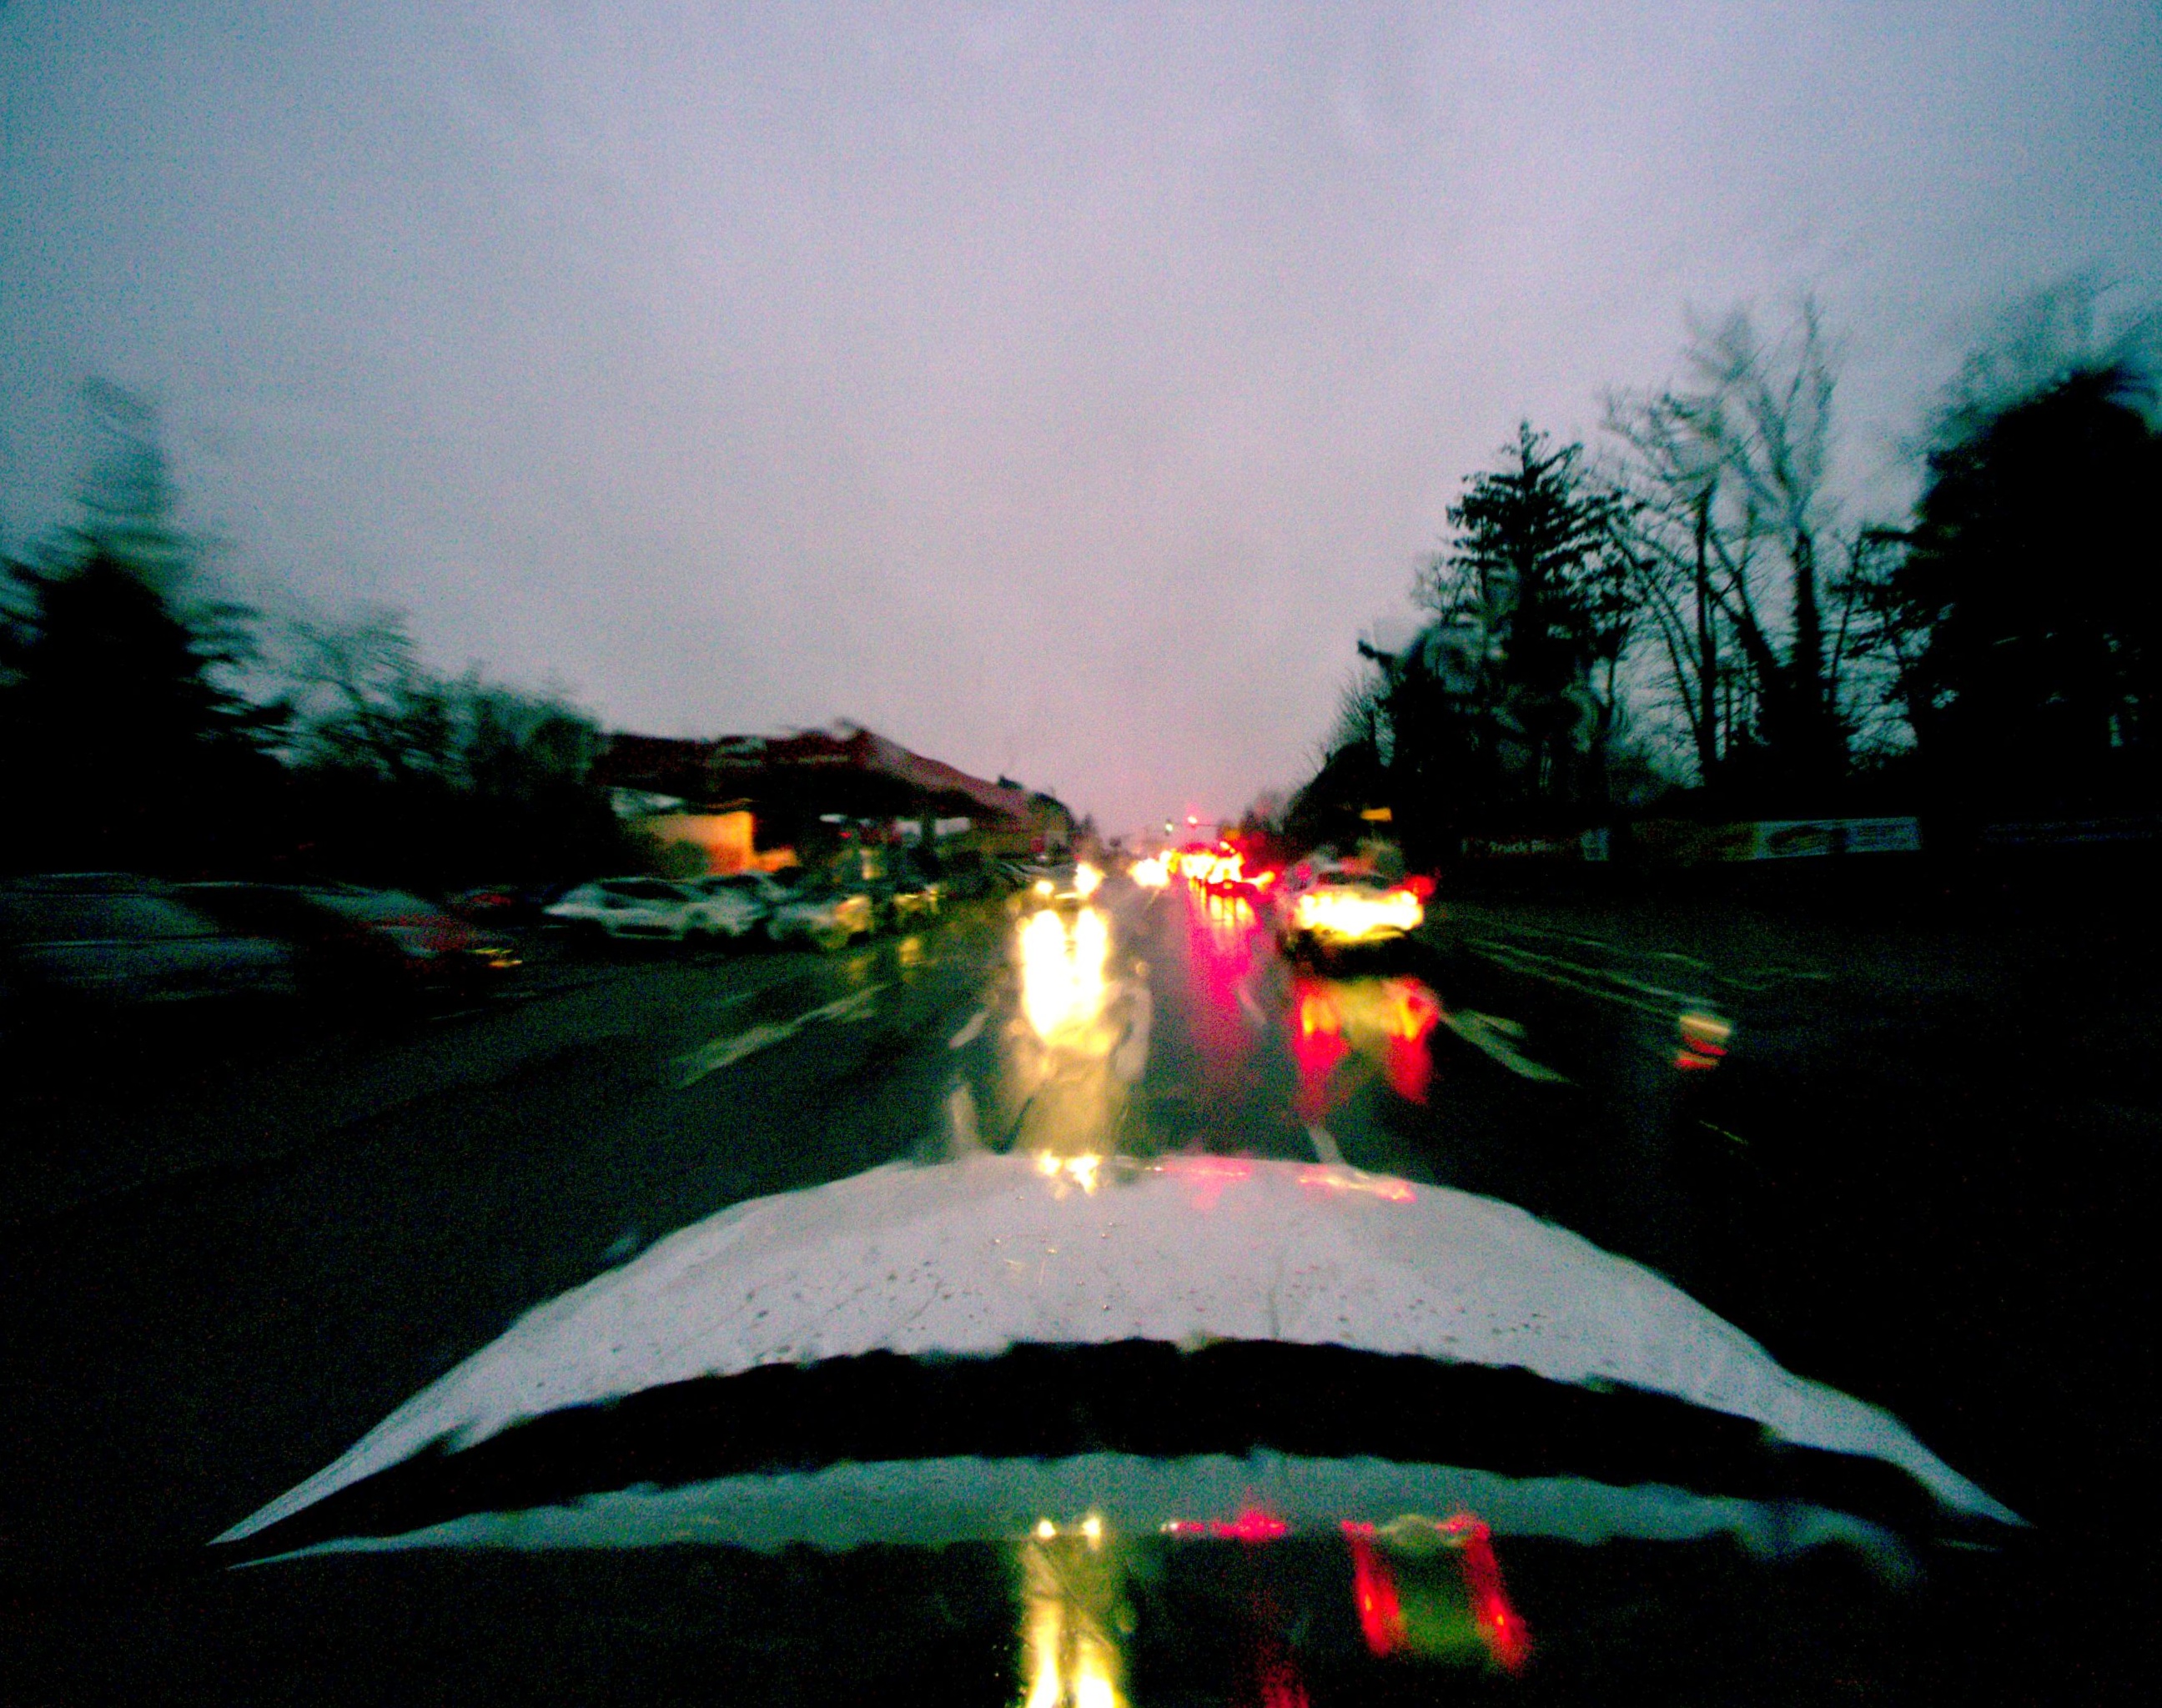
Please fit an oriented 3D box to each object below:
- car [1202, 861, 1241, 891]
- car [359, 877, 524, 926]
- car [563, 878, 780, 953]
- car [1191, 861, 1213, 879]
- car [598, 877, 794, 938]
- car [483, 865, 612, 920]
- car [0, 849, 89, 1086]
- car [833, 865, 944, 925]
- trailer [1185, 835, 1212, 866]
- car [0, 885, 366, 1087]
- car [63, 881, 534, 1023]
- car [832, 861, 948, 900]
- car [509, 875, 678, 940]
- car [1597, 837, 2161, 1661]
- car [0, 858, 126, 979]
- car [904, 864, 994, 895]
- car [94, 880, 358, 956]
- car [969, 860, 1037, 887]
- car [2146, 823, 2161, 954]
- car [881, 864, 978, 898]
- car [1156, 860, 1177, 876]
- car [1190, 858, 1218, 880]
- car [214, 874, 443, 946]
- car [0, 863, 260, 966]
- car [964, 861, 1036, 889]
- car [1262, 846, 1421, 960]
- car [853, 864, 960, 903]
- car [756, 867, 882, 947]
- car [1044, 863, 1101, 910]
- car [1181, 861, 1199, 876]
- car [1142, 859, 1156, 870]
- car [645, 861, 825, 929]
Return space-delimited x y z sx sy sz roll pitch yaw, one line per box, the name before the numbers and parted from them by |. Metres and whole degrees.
car | 6.944 1.049 40.512 1.632 1.366 4.777 -1 -1 7
car | -17.995 1.321 22.994 3.550 1.258 1.627 -1 0 8
car | -8.695 1.288 17.497 3.755 1.459 1.778 -1 0 3
car | 10.830 1.408 73.079 1.827 1.568 4.511 -1 -1 6
car | -9.152 1.263 19.551 3.839 1.346 1.842 0 0 5
car | -17.807 1.230 27.397 1.609 1.572 3.590 -1 1 8
car | -9.949 0.858 5.326 4.517 1.676 2.011 -1 0 2
car | -5.152 1.061 22.329 1.673 1.421 3.749 -2 0 8
trailer | 13.159 -0.281 92.054 2.475 3.241 10.885 -1 -1 6
car | -9.606 1.120 7.636 4.310 1.498 1.999 -1 0 8
car | -9.514 1.156 10.107 4.313 1.498 1.829 -1 0 6
car | -7.192 0.969 30.878 3.839 1.410 1.947 0 0 5
car | -12.842 1.353 21.764 1.824 1.489 3.879 0 0 7
car | 2.760 0.717 1.398 1.557 1.529 4.014 -1 0 7
car | -19.167 1.080 13.779 3.967 1.922 1.962 -1 0 6
car | -6.263 1.188 38.875 3.839 1.346 1.842 -2 -1 5
car | -18.744 1.379 17.970 3.967 1.465 1.962 -1 0 6
car | -5.297 1.336 55.752 4.255 1.764 2.004 1 0 6
car | 15.667 0.353 10.675 4.504 1.608 1.997 -1 -1 -38
car | -6.674 1.189 36.081 3.839 1.346 1.842 -2 -1 5
car | 9.463 1.531 90.773 2.038 1.573 4.707 -3 -1 3
car | 8.159 0.978 54.097 1.645 1.336 4.280 -2 -1 6
car | -18.418 1.337 20.048 3.967 1.576 1.962 -1 0 6
car | -18.870 1.133 15.850 3.967 1.808 1.962 -1 0 6
car | -5.217 1.333 52.663 4.255 1.662 2.004 1 0 6
car | 4.178 0.705 13.789 1.699 1.576 4.472 -2 0 7
car | -7.036 1.183 33.083 3.839 1.406 1.842 -2 -1 5
car | -5.772 1.124 18.289 1.510 1.543 3.020 -3 0 6
car | -0.259 1.158 30.474 1.595 1.534 4.006 -4 -1 6
car | 10.824 1.422 80.917 1.654 1.439 4.389 -1 -1 6
car | 11.241 1.673 134.110 1.981 1.746 4.010 -3 -1 9
car | -9.394 1.093 22.285 4.024 1.650 1.946 -2 -1 8
